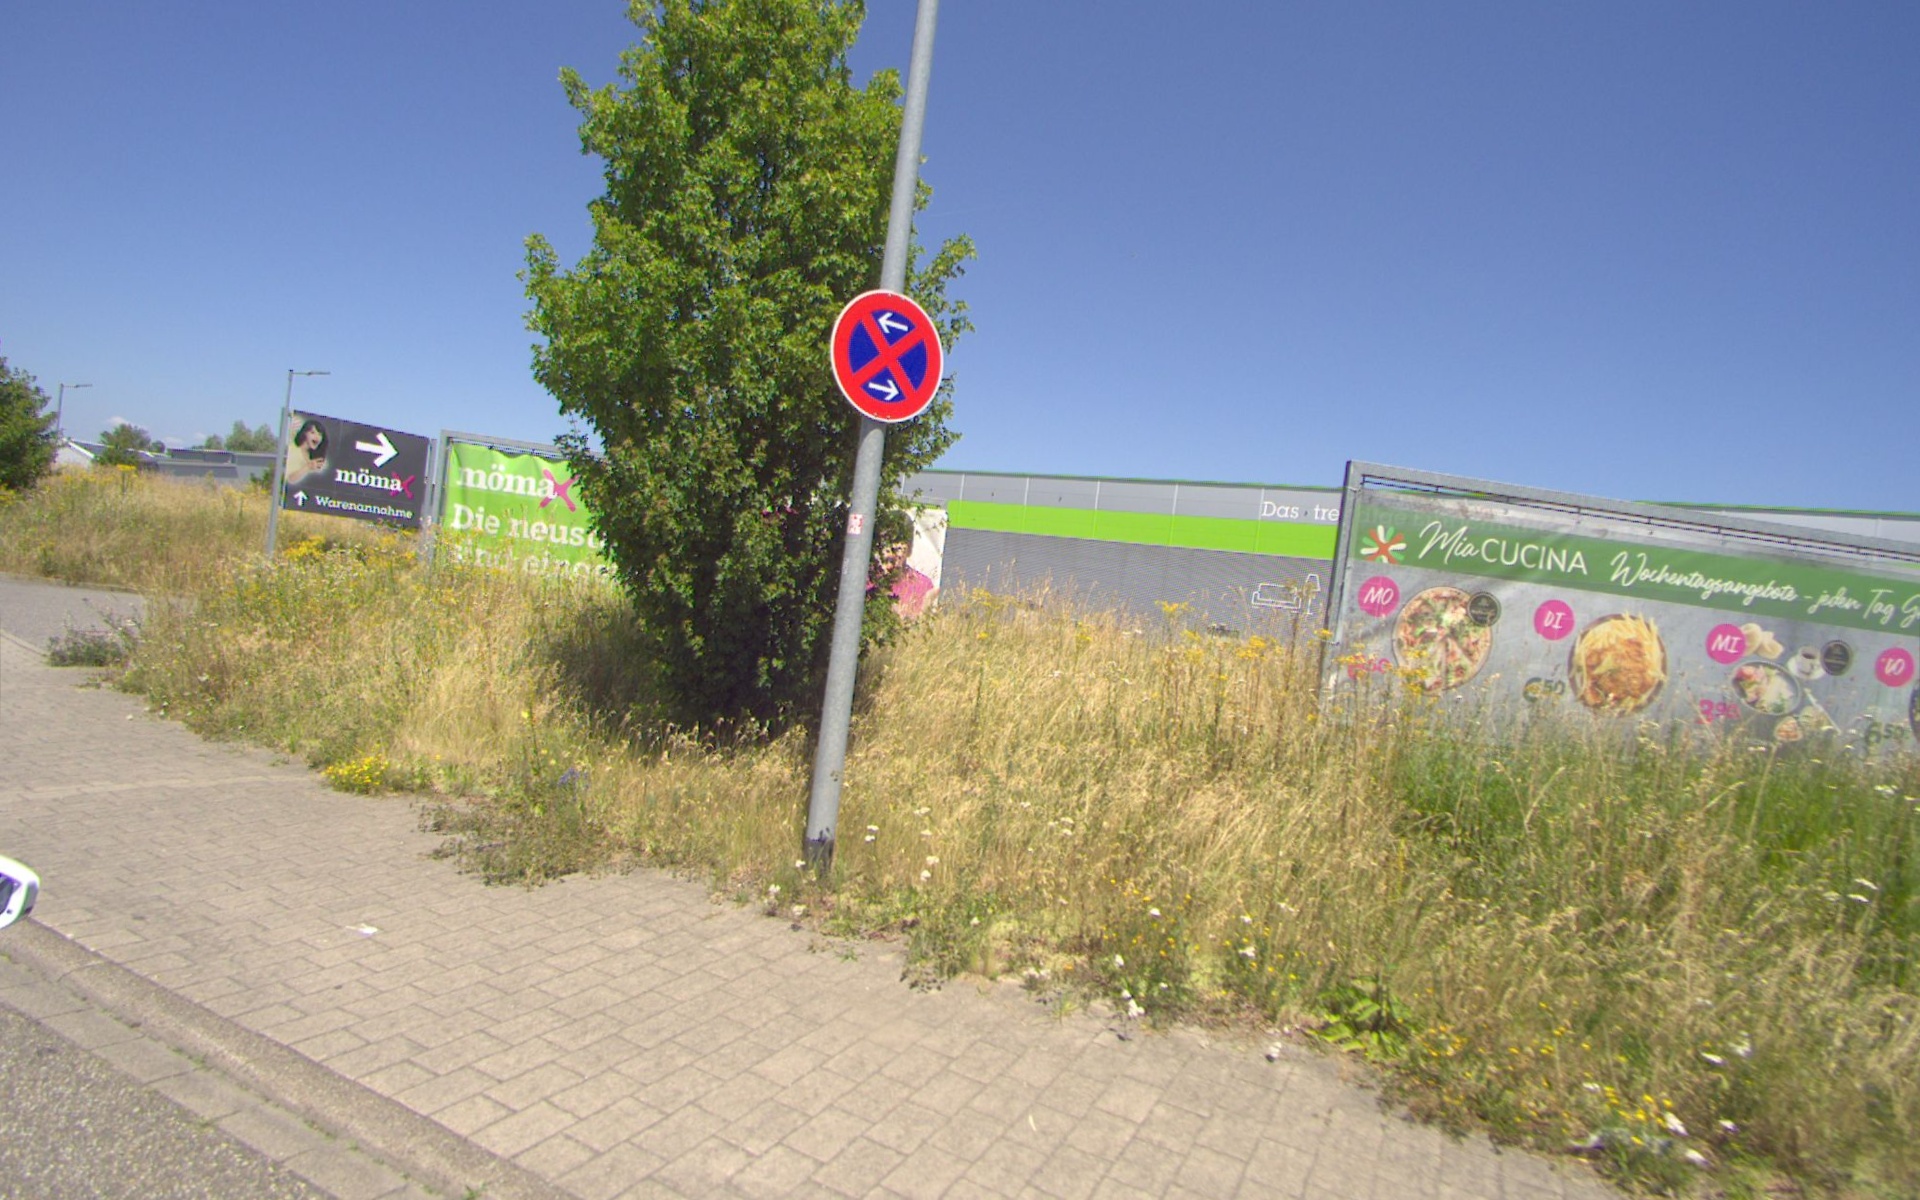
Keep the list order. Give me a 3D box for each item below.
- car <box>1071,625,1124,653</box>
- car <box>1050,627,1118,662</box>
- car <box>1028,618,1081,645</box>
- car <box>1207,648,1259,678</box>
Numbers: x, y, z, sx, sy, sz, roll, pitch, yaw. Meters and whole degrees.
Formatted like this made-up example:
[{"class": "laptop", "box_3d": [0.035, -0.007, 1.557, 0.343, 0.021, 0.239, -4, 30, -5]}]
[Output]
[{"class": "car", "box_3d": [8.996, 2.570, 65.722, 1.966, 1.537, 3.993, 6, -1, 30]}, {"class": "car", "box_3d": [6.516, 2.339, 52.491, 1.966, 1.537, 3.993, 6, -1, 30]}, {"class": "car", "box_3d": [6.345, 2.119, 67.263, 1.966, 1.493, 3.993, 6, -1, 30]}, {"class": "car", "box_3d": [16.356, 3.798, 60.246, 1.966, 1.537, 3.993, 6, -1, 30]}]
